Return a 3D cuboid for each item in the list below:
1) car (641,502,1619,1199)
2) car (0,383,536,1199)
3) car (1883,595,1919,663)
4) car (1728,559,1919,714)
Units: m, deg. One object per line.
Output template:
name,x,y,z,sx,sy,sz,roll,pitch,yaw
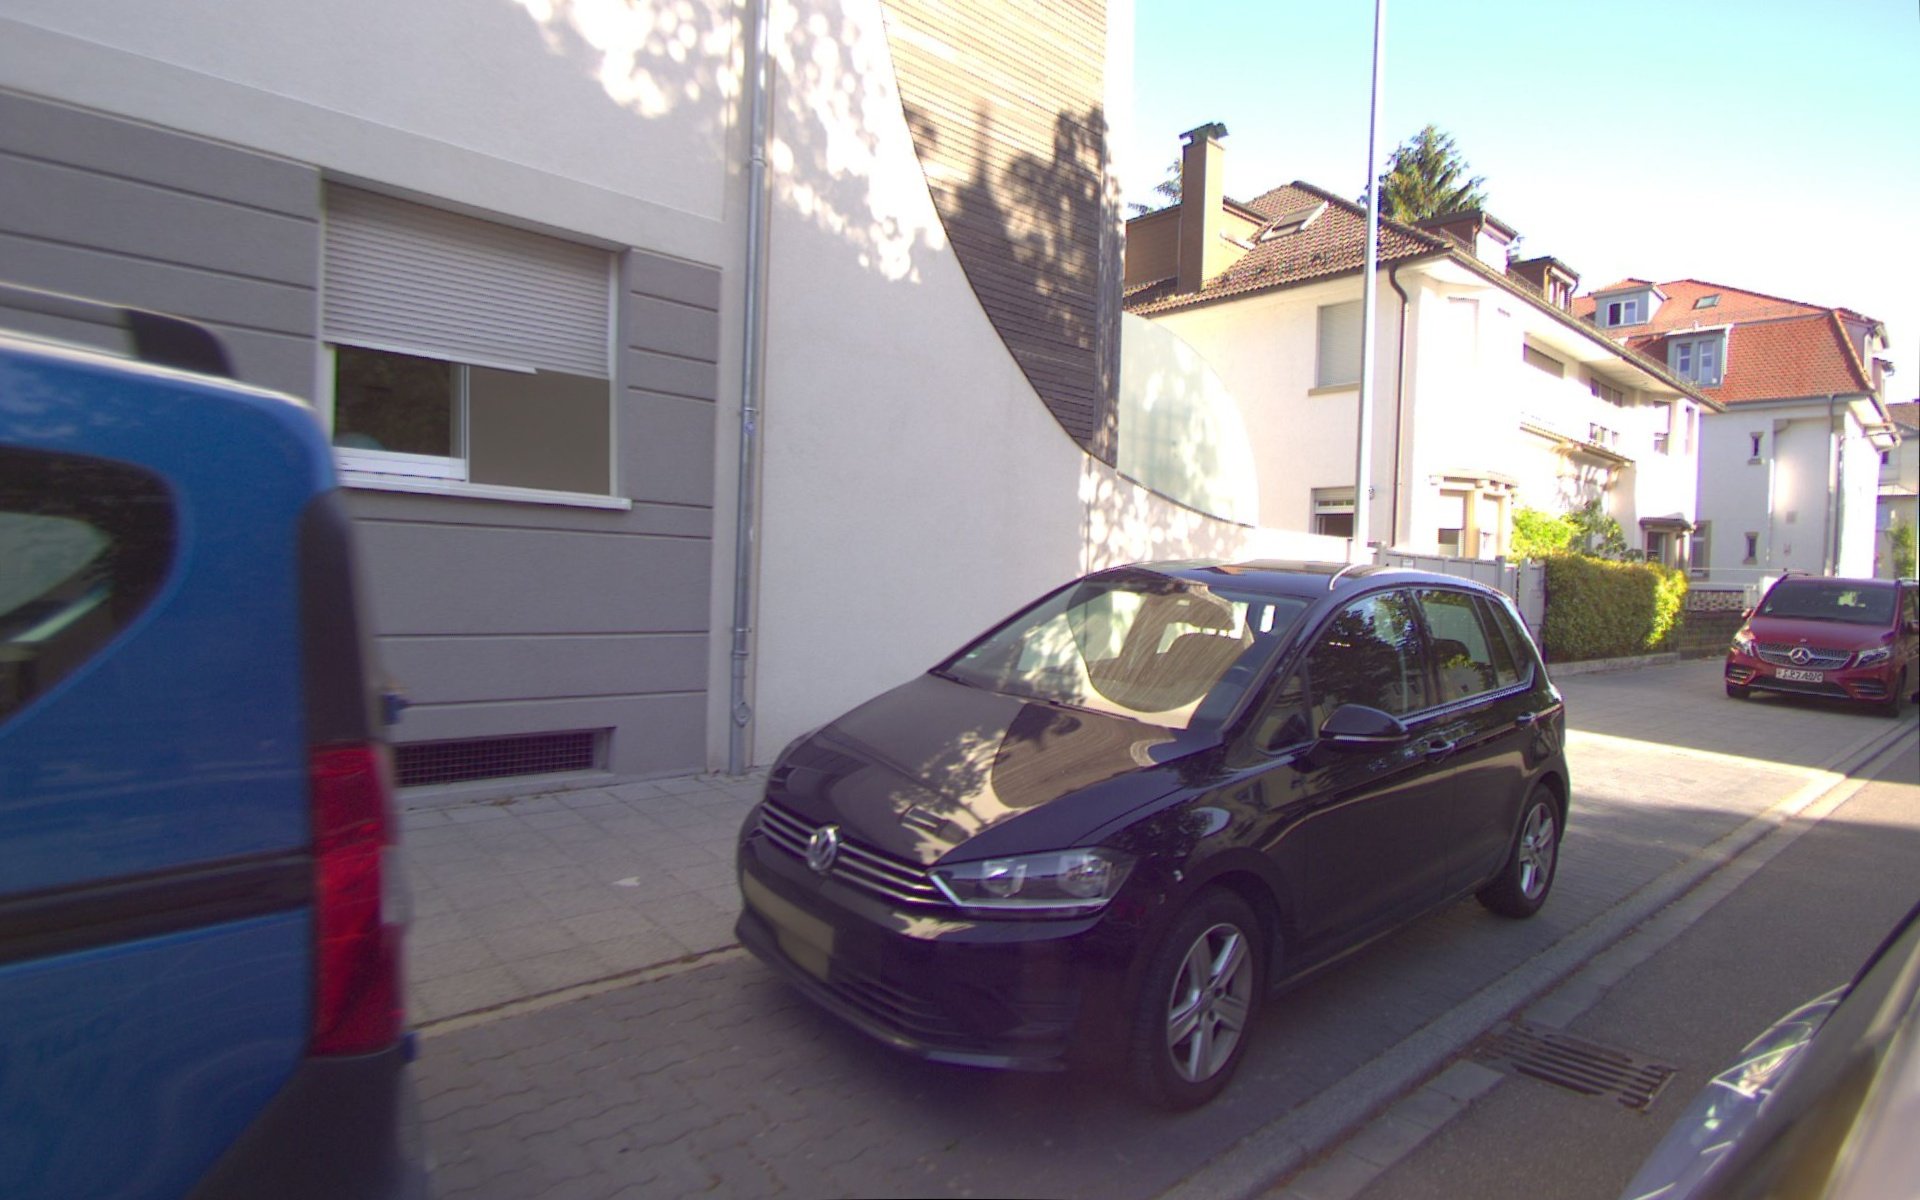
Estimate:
car,1.031,0.524,4.203,4.106,1.549,1.741,1,4,-42
car,-2.733,0.433,0.679,4.192,1.451,1.686,-1,7,-41
car,23.003,0.690,23.748,3.191,1.498,1.596,0,4,-42
car,13.528,0.432,15.218,5.103,1.928,1.877,0,3,-38
